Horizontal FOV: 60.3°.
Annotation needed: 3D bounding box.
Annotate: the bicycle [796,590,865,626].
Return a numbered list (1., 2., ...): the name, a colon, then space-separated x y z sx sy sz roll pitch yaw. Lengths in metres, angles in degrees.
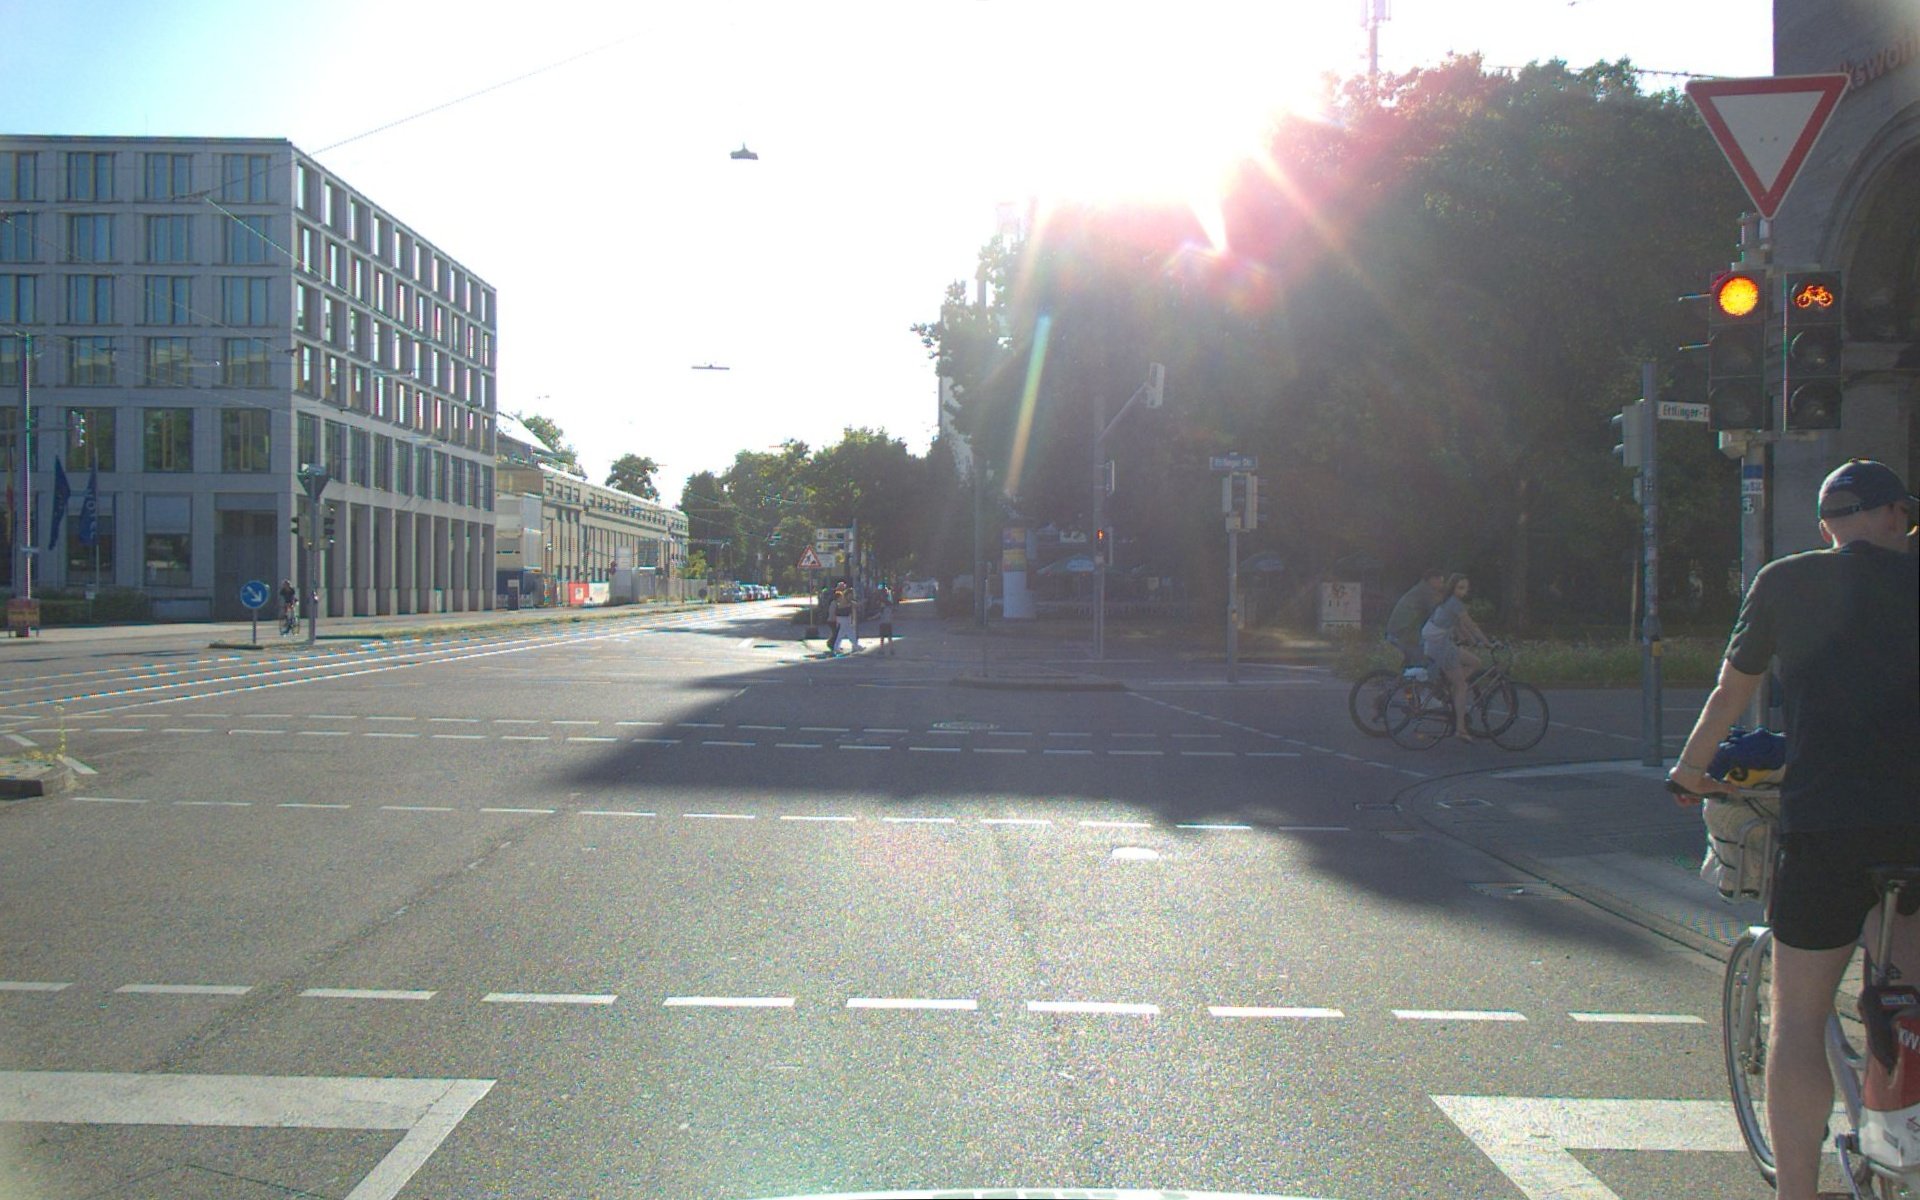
1. bicycle: -5.232 0.325 67.046 2.688 1.391 0.631 1 -1 10

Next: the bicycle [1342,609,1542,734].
1. bicycle: 5.223 0.761 17.996 1.945 1.314 0.791 0 0 -3

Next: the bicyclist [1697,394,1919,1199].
1. bicyclist: 2.119 0.427 3.722 0.655 1.707 0.657 0 0 5

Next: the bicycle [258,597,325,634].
1. bicycle: -21.158 0.475 52.425 0.857 1.140 3.013 0 0 0

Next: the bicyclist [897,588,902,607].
1. bicyclist: -3.611 -0.151 98.306 0.312 1.147 0.291 0 0 -1

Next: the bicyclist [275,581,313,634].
1. bicyclist: -21.119 0.227 52.476 0.857 1.670 0.822 0 0 0

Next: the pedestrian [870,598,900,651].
1. pedestrian: -1.961 0.642 43.265 0.737 1.356 0.742 0 -1 0

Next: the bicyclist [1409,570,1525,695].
1. bicyclist: 5.184 0.323 16.948 0.906 1.240 0.796 0 0 -4

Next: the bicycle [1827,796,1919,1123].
1. bicycle: 3.004 1.087 4.409 0.418 0.891 1.951 0 0 2

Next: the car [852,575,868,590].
1. car: -13.312 -2.302 220.487 1.953 2.049 3.999 0 0 -1

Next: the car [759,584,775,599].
1. car: -22.653 -1.002 194.153 1.453 1.780 3.999 0 0 -1

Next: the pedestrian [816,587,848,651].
1. pedestrian: -3.397 0.492 43.781 0.779 1.668 0.533 0 0 2

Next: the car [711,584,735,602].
1. car: -22.313 -0.674 155.779 1.695 1.682 3.999 0 0 -1

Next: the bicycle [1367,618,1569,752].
1. bicycle: 5.178 0.851 16.926 1.814 1.314 0.791 0 0 -4

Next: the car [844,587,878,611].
1. car: -5.432 -0.066 91.069 1.783 1.301 3.998 0 0 -3

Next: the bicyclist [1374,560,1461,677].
1. bicyclist: 4.970 0.191 18.004 0.706 1.240 0.797 0 0 -2

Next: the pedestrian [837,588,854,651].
1. pedestrian: -3.085 0.530 44.677 0.432 1.692 0.376 0 0 -2

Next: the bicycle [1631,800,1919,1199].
1. bicycle: 2.062 1.063 3.943 0.381 0.921 1.952 0 0 8

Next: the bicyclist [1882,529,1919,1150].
1. bicyclist: 2.884 0.658 4.297 0.511 1.709 0.859 0 0 2

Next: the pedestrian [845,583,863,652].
1. pedestrian: -2.851 0.473 44.351 0.353 1.836 0.507 0 0 11

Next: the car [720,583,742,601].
1. car: -22.127 -0.745 159.972 1.695 1.682 3.999 0 0 -1

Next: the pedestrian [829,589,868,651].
1. pedestrian: -2.921 0.530 43.377 0.964 1.615 0.660 0 -1 1

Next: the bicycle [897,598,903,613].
1. bicycle: -3.584 0.328 98.378 0.317 0.883 1.483 0 0 -1
